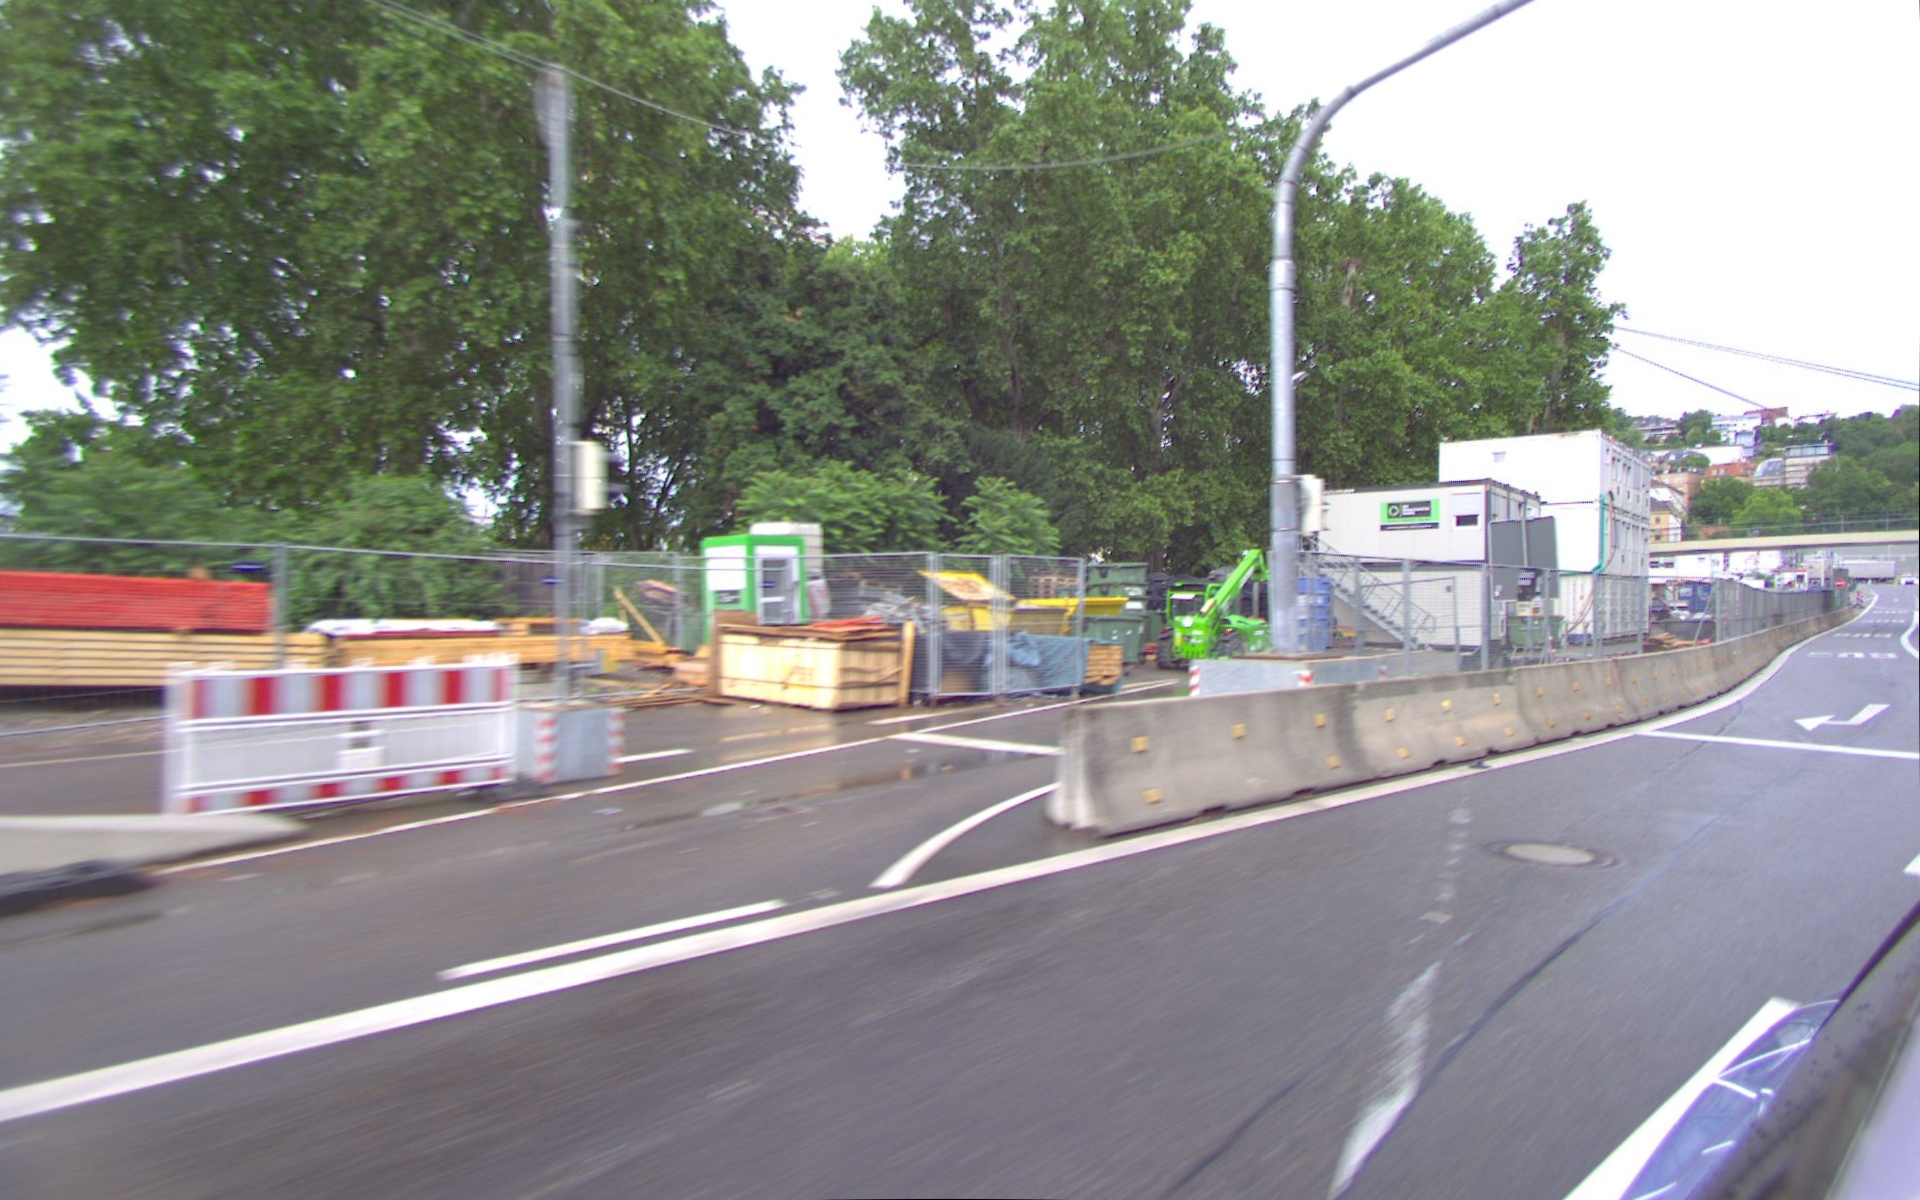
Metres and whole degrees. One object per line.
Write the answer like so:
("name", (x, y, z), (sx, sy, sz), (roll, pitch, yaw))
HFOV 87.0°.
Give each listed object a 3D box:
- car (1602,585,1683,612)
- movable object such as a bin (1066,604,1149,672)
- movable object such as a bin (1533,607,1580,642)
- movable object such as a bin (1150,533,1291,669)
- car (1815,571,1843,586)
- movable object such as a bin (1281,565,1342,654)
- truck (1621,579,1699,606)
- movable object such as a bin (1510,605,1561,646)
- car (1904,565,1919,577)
("car", (46.961, -0.097, 69.670), (4.491, 1.750, 1.972), (0, 1, 40))
("movable object such as a bin", (3.018, 0.762, 20.816), (1.239, 1.362, 1.181), (1, -1, -27))
("movable object such as a bin", (21.718, 0.889, 36.866), (1.246, 1.136, 1.221), (3, 4, 43))
("movable object such as a bin", (6.045, 0.046, 23.213), (1.803, 2.846, 3.812), (0, -1, 38))
("car", (95.260, -2.354, 110.962), (4.340, 1.459, 1.834), (-4, 1, -43))
("movable object such as a bin", (9.045, 0.238, 26.036), (1.443, 2.231, 1.256), (0, -1, 20))
("truck", (57.569, -0.649, 83.272), (5.142, 2.038, 2.377), (0, 3, 38))
("movable object such as a bin", (19.624, 0.839, 34.516), (1.246, 1.251, 1.221), (3, 4, 43))
("car", (144.210, -4.366, 152.042), (1.974, 1.589, 3.978), (1, 4, 19))
